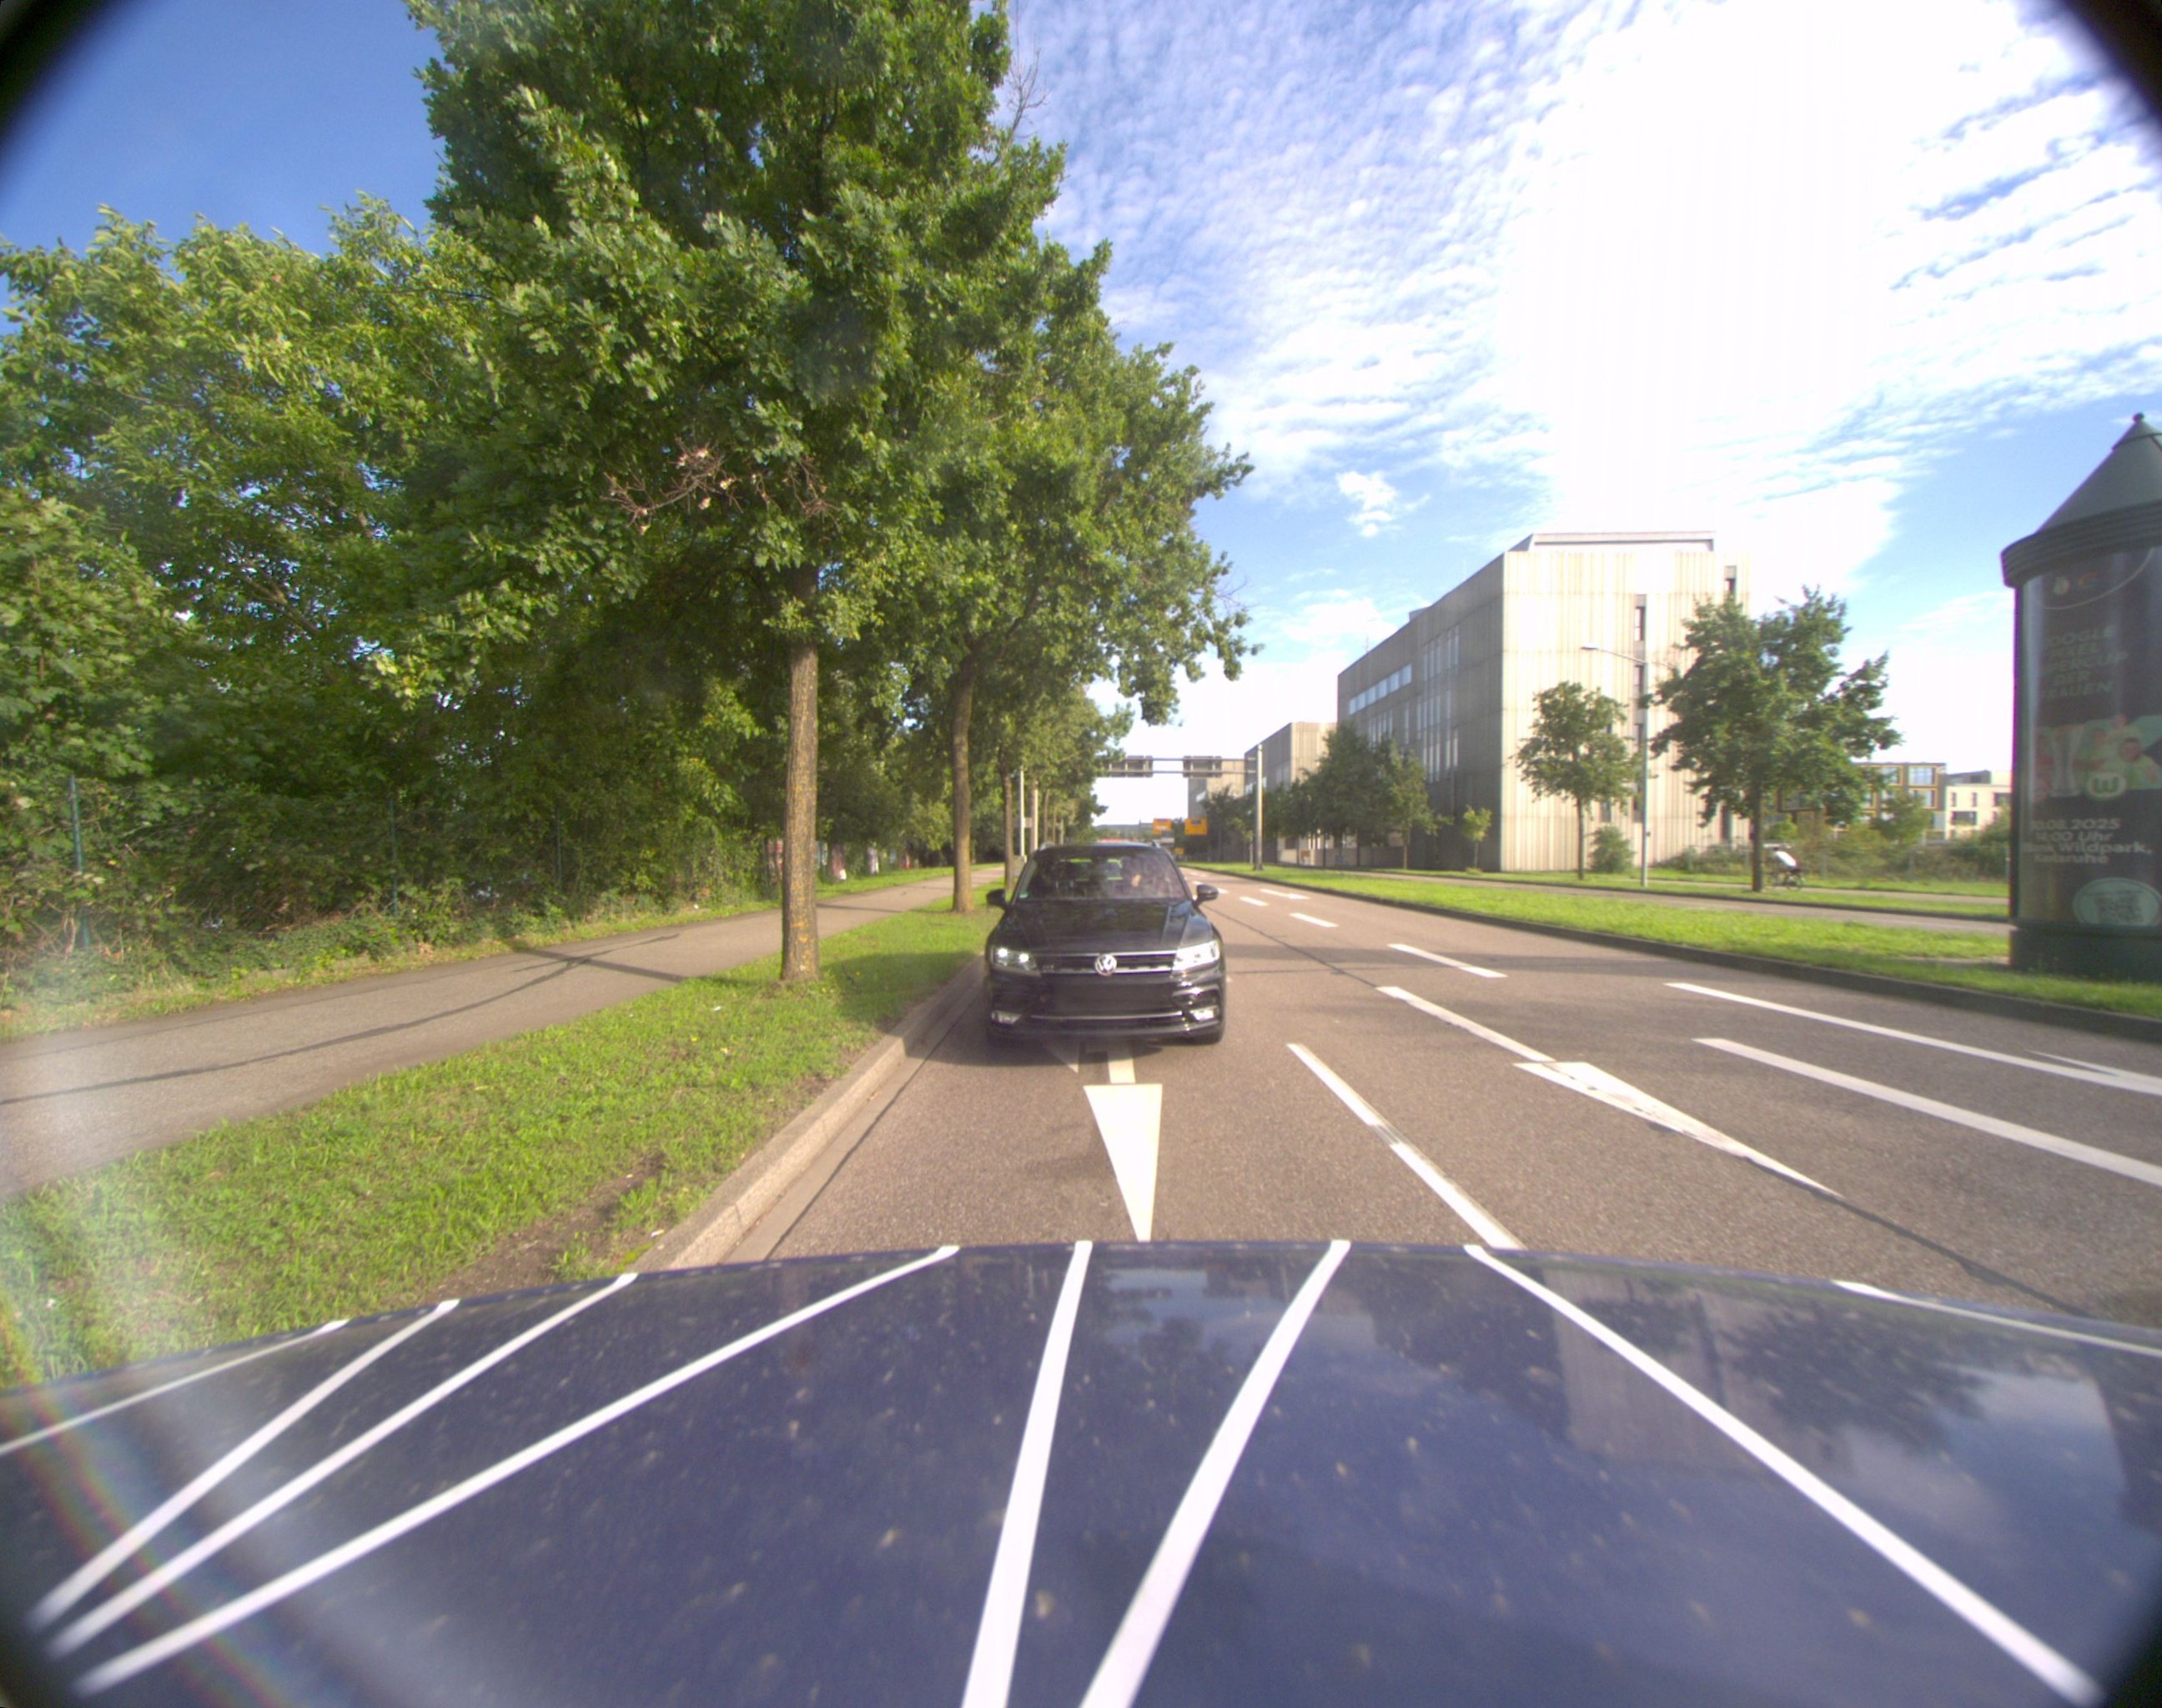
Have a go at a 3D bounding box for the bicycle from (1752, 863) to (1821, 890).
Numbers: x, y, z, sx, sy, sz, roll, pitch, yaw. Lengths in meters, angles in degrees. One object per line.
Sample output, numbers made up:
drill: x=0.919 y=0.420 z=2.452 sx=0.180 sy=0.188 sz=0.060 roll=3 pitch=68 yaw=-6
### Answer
bicycle: x=27.555 y=0.861 z=29.726 sx=0.897 sy=0.975 sz=1.911 roll=1 pitch=0 yaw=1

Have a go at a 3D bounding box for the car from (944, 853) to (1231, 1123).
car: x=0.098 y=0.854 z=6.751 sx=1.775 sy=1.637 sz=3.868 roll=-2 pitch=1 yaw=2

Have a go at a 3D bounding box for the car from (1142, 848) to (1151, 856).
car: x=17.149 y=-0.508 z=198.675 sx=1.998 sy=2.002 sz=3.983 roll=0 pitch=0 yaw=0

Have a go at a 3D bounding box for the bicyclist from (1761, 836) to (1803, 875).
bicyclist: x=27.563 y=0.043 z=29.895 sx=0.707 sy=1.517 sz=0.989 roll=0 pitch=1 yaw=1

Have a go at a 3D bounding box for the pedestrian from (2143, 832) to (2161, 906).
pedestrian: x=29.515 y=0.415 z=20.414 sx=0.676 sy=2.002 sz=0.867 roll=0 pitch=1 yaw=0

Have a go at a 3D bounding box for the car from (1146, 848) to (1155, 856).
car: x=17.254 y=-0.467 z=188.855 sx=1.998 sy=2.002 sz=4.000 roll=0 pitch=0 yaw=0
